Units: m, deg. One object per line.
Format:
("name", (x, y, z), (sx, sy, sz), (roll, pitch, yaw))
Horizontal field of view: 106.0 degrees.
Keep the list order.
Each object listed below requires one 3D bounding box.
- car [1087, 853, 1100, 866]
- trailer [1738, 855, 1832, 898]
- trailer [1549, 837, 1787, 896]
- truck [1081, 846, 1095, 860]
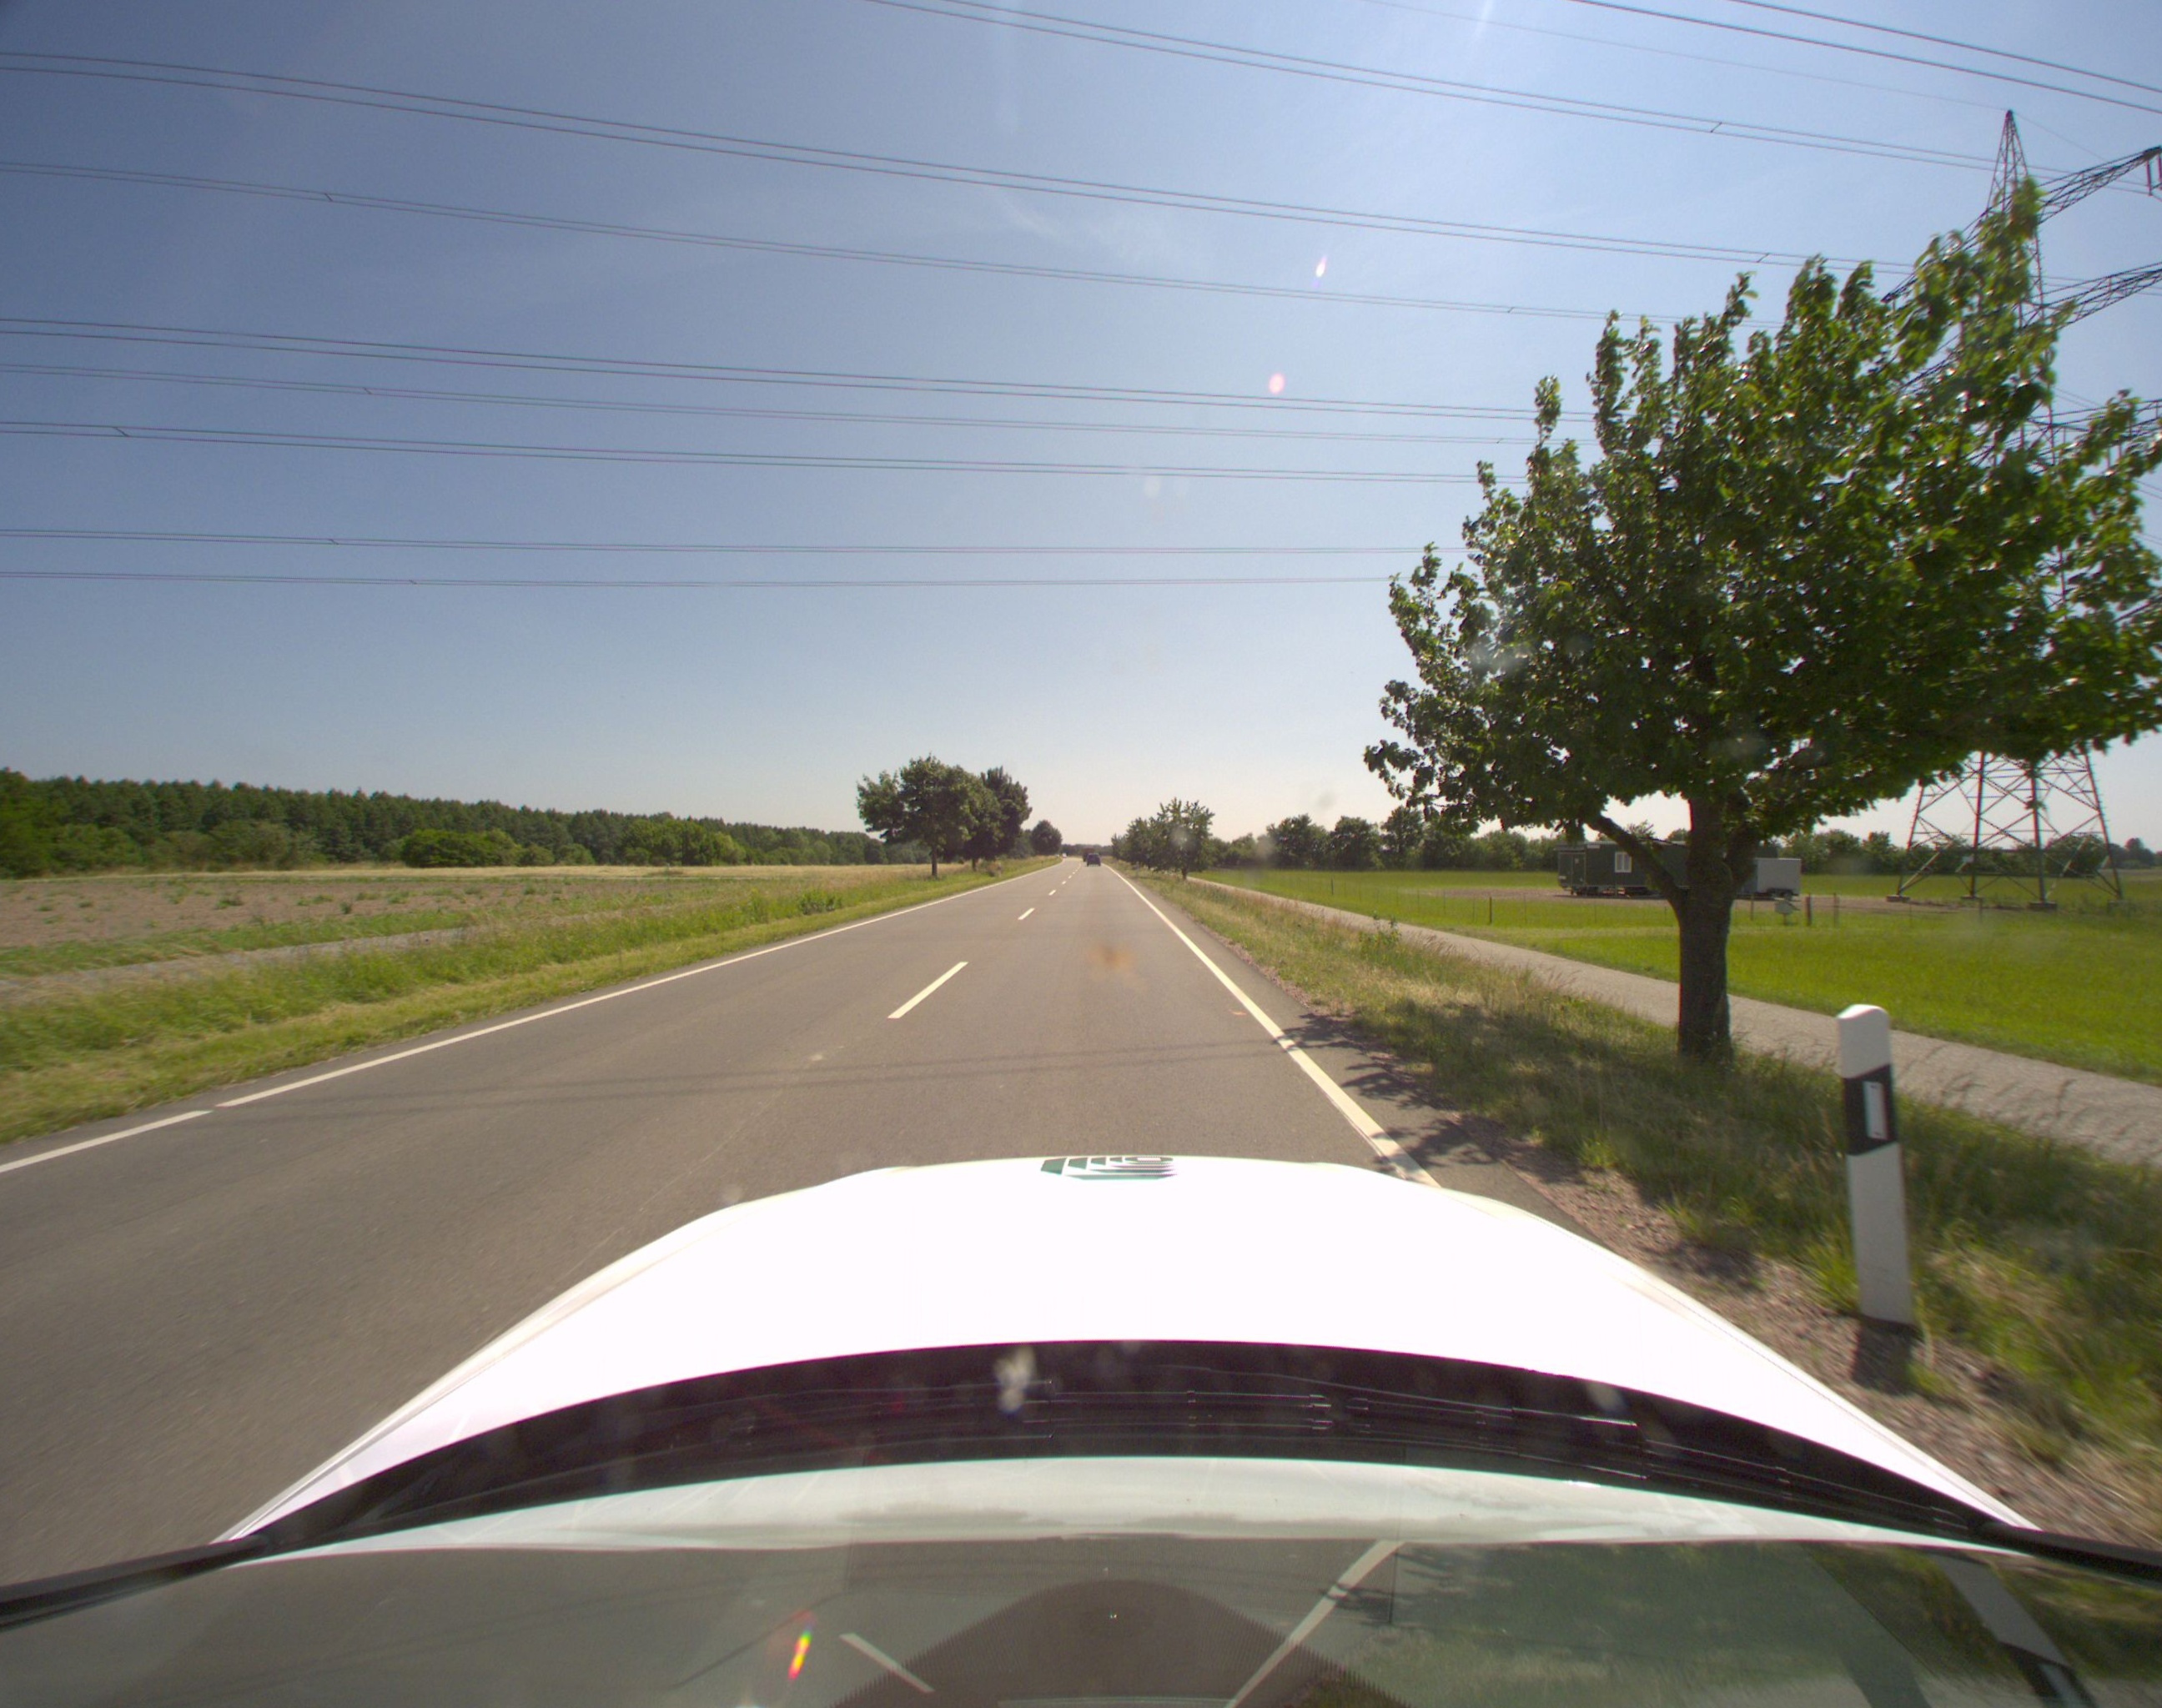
("car", (1.688, 0.709, 108.792), (1.708, 1.694, 3.989), (-1, 0, 1))
("trailer", (41.829, 1.324, 48.452), (3.977, 2.443, 1.998), (1, 0, -2))
("trailer", (36.861, 0.790, 51.492), (12.371, 3.473, 3.804), (1, 0, 0))
("truck", (1.505, -0.192, 177.238), (2.365, 3.140, 8.737), (0, 0, -3))
